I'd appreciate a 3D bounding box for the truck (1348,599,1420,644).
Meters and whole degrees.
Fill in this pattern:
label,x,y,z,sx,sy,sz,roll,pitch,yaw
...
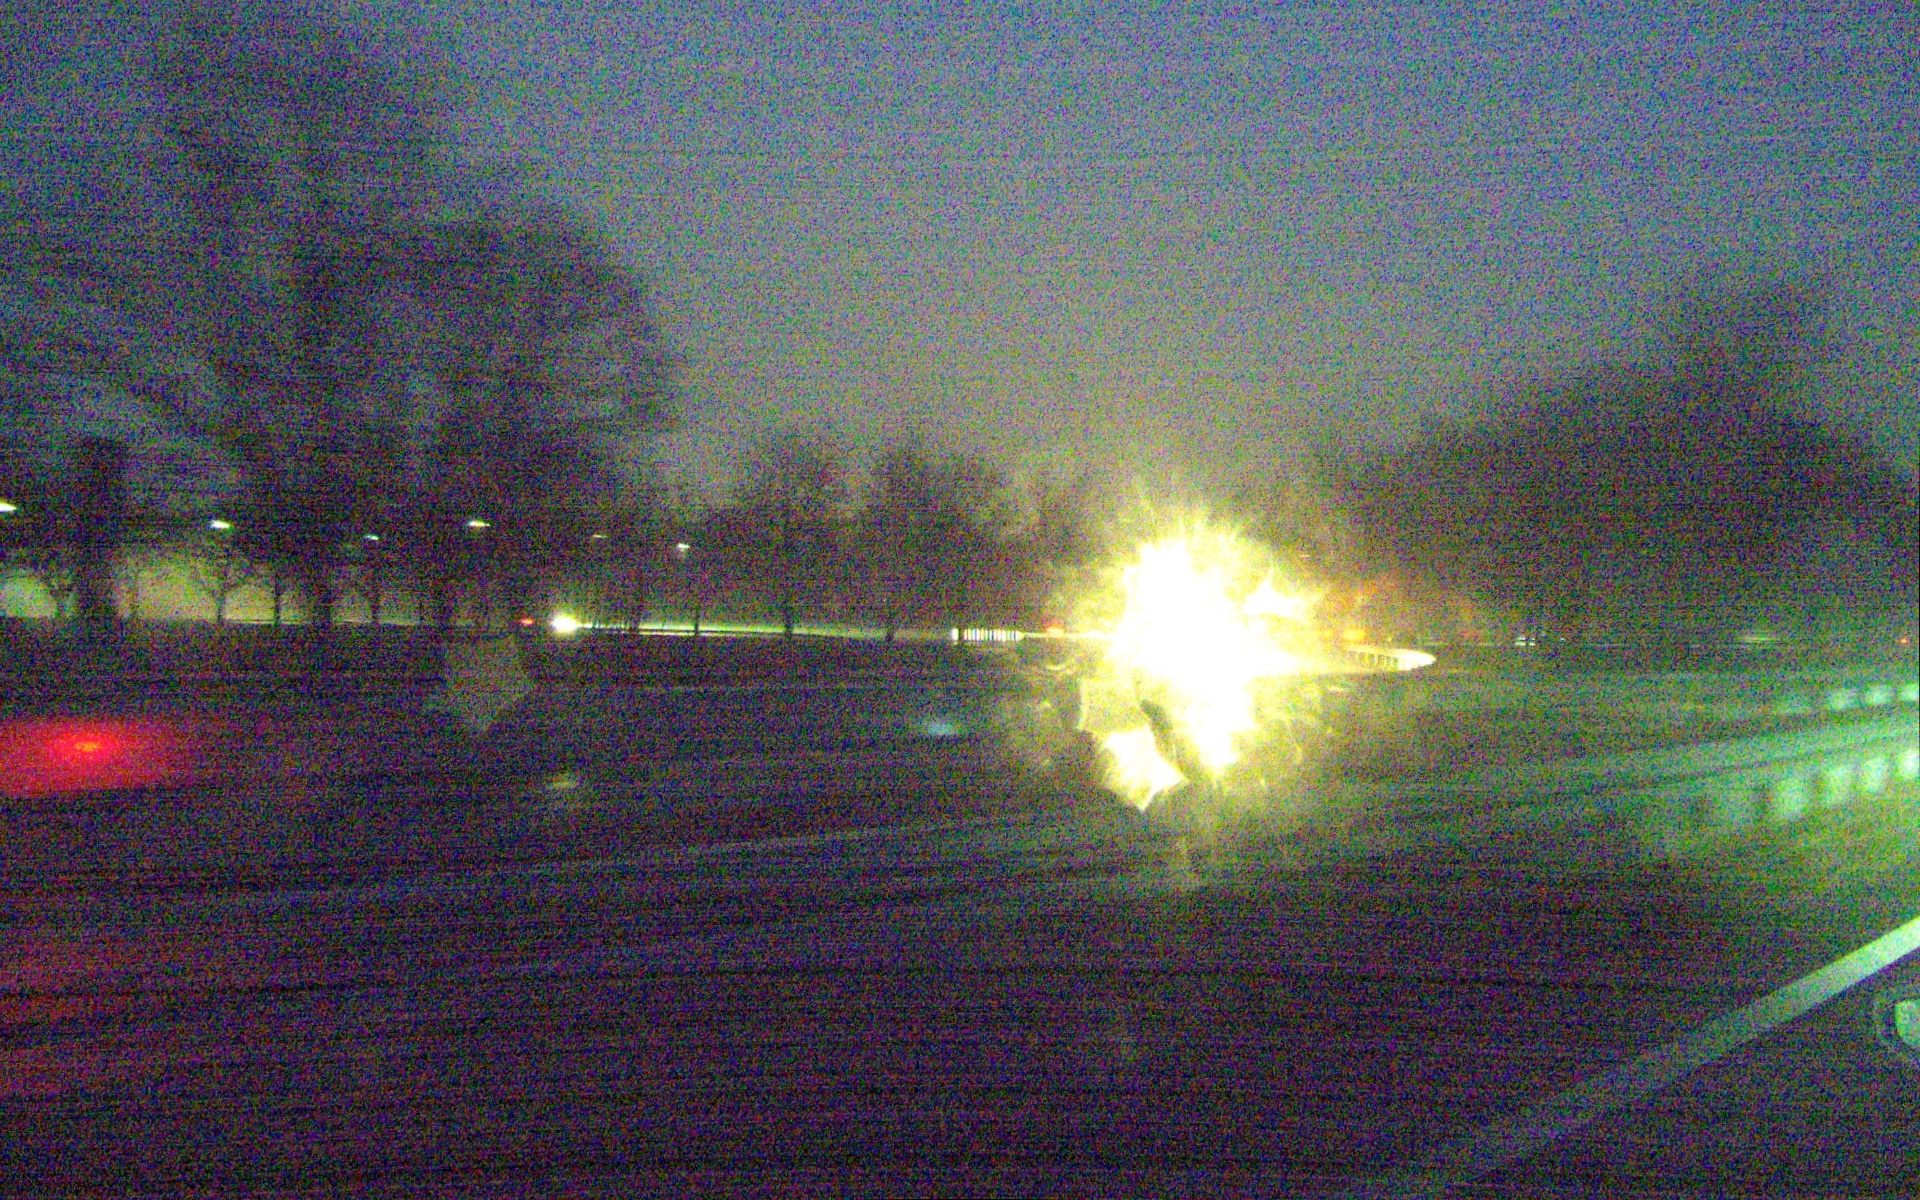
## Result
label,x,y,z,sx,sy,sz,roll,pitch,yaw
truck,37.590,1.895,89.221,5.347,3.761,2.597,1,1,12

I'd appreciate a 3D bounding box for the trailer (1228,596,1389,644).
label,x,y,z,sx,sy,sz,roll,pitch,yaw
trailer,31.177,1.745,90.551,13.375,3.775,2.601,1,1,12

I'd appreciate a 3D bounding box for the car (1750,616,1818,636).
label,x,y,z,sx,sy,sz,roll,pitch,yaw
car,69.542,2.190,84.864,3.919,1.539,2.001,1,1,10

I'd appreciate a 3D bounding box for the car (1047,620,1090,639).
label,x,y,z,sx,sy,sz,roll,pitch,yaw
car,10.149,2.744,93.888,3.919,1.639,2.001,1,1,6

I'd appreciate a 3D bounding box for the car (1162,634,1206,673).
label,x,y,z,sx,sy,sz,roll,pitch,yaw
car,11.282,2.668,50.871,1.724,1.662,4.002,1,1,6
